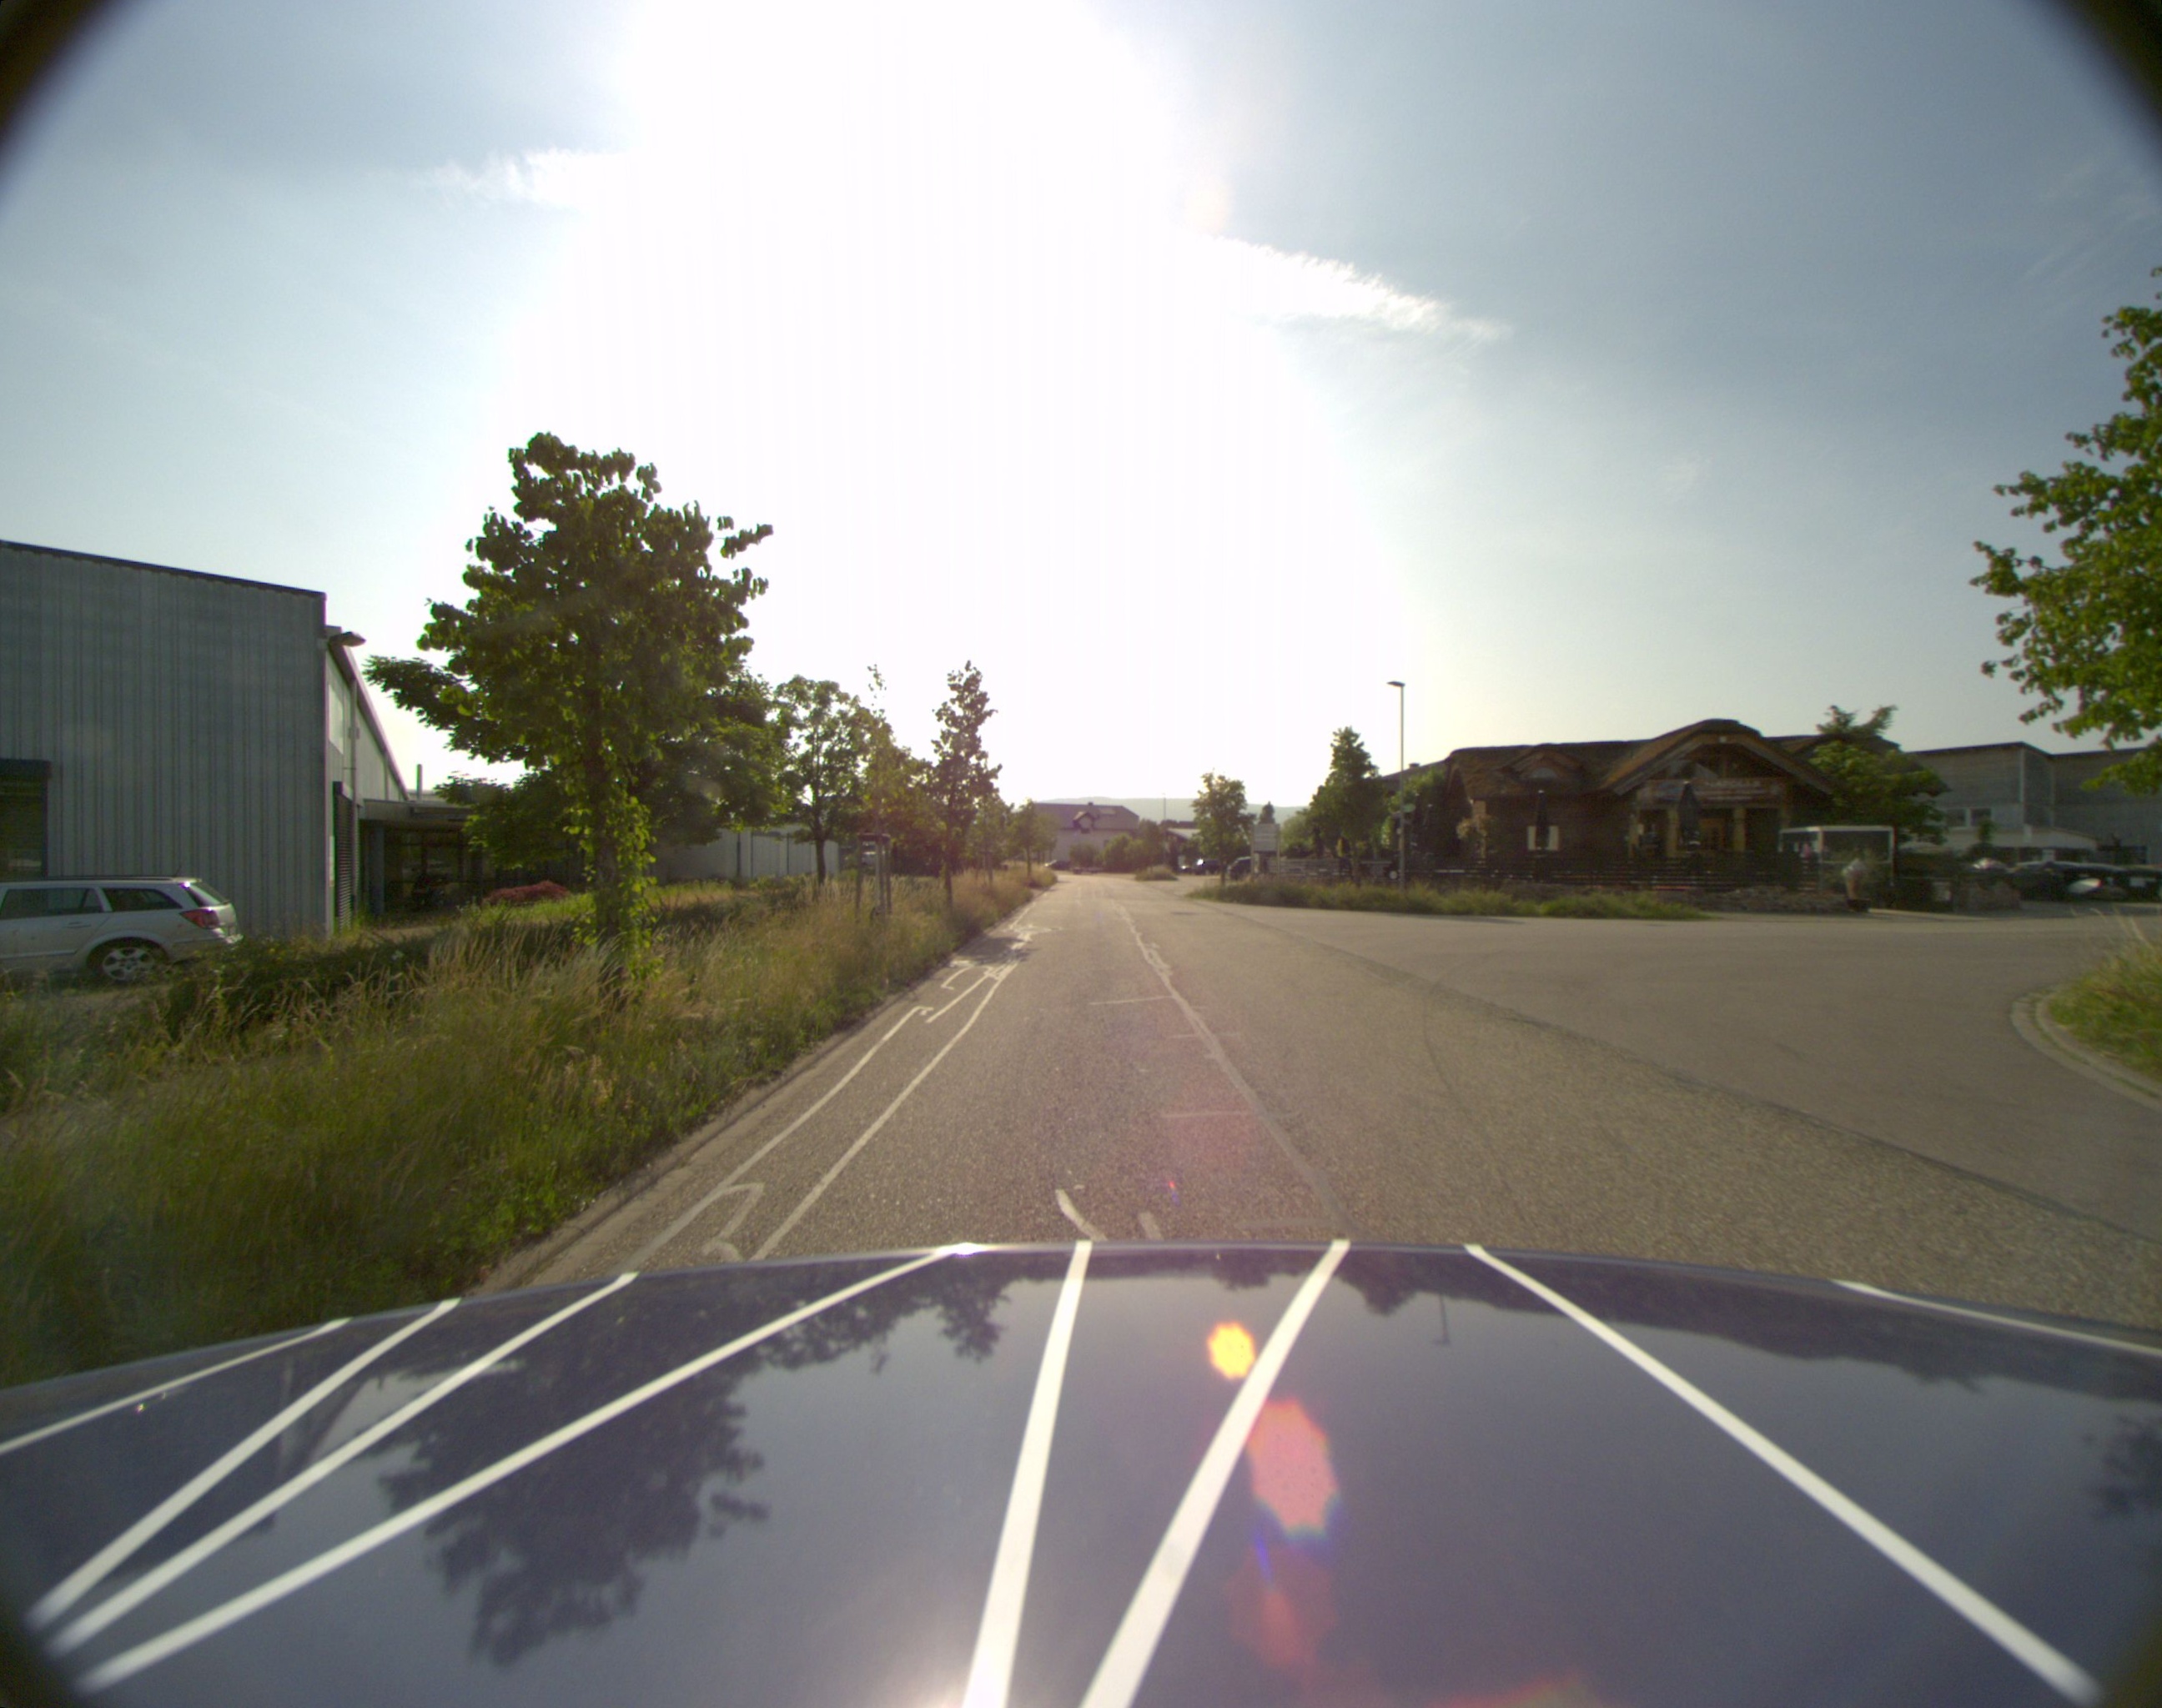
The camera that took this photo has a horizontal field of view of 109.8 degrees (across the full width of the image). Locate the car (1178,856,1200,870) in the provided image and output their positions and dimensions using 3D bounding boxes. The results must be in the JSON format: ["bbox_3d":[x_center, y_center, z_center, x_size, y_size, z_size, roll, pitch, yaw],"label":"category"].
[{"bbox_3d":[11.849,1.011,83.535,1.615,1.472,3.548,0,0,-7],"label":"car"}]

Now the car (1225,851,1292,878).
[{"bbox_3d":[11.739,0.697,50.510,3.997,1.718,2.000,0,0,1],"label":"car"}]

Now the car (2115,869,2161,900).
[{"bbox_3d":[58.942,1.641,40.609,2.002,1.649,3.992,0,0,-22],"label":"car"}]

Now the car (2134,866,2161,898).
[{"bbox_3d":[61.122,1.550,41.411,2.002,1.721,3.992,0,0,-22],"label":"car"}]

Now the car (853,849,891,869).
[{"bbox_3d":[-19.681,0.462,71.694,1.598,1.672,3.761,-2,1,16],"label":"car"}]

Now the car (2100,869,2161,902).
[{"bbox_3d":[56.866,1.641,39.690,2.002,1.687,3.992,0,0,-22],"label":"car"}]

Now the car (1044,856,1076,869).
[{"bbox_3d":[-2.857,1.181,105.164,4.005,1.761,1.996,0,0,-24],"label":"car"}]

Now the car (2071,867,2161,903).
[{"bbox_3d":[54.690,1.569,39.095,2.002,1.725,4.157,0,0,-22],"label":"car"}]

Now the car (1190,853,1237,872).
[{"bbox_3d":[12.827,0.830,73.466,4.004,1.783,1.996,0,0,-21],"label":"car"}]

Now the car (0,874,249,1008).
[{"bbox_3d":[-14.406,1.126,10.114,4.369,1.554,1.753,1,3,-43],"label":"car"}]

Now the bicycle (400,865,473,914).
[{"bbox_3d":[-21.112,1.127,24.966,0.808,1.461,2.277,-3,1,-12],"label":"bicycle"}]
